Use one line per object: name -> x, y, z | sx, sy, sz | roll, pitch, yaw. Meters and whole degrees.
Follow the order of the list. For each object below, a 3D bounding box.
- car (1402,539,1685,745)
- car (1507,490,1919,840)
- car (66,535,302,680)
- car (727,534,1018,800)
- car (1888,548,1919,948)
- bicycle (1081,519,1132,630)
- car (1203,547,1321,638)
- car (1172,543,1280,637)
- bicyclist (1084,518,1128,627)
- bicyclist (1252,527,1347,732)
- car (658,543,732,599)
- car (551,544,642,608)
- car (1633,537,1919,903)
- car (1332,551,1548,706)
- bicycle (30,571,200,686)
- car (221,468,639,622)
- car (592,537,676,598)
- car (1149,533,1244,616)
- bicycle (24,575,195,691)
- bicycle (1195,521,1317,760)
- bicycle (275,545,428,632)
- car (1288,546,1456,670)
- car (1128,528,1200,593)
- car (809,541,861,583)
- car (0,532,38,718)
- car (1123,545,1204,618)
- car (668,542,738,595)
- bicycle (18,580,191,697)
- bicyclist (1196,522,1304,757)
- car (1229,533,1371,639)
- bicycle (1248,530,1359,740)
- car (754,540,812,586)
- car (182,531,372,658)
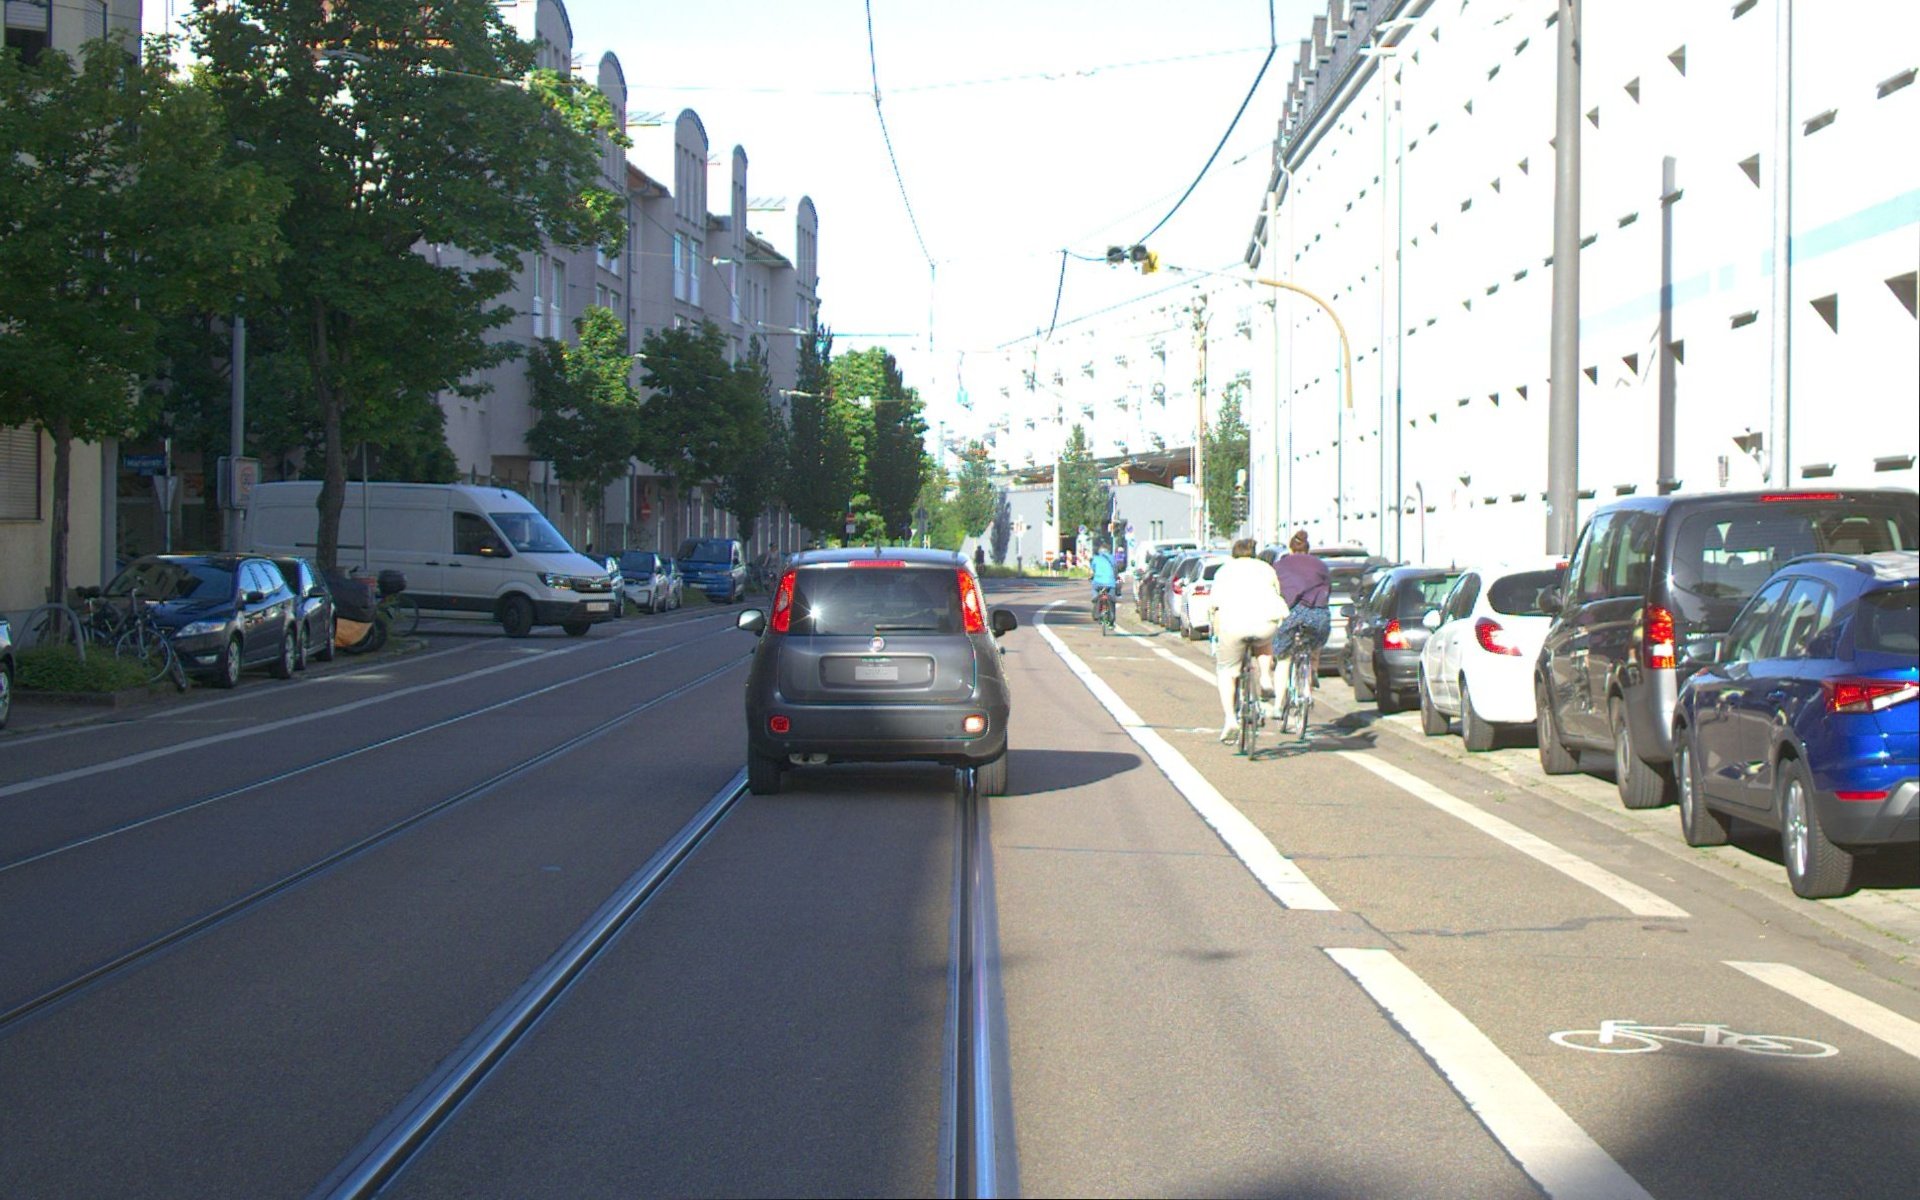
car -> 4.566, 0.287, 27.281 | 1.655, 1.495, 3.130 | 2, 1, 0
car -> 4.715, 0.328, 21.826 | 1.655, 1.937, 4.665 | 2, 1, 0
car -> -8.945, 0.047, 39.913 | 1.835, 1.551, 4.000 | 2, 1, -1
car -> -0.487, 0.357, 22.567 | 1.650, 1.536, 4.234 | 2, 1, 1
car -> 4.622, 0.629, 12.184 | 1.655, 1.566, 3.499 | 2, 1, 0
bicycle -> 2.717, -0.489, 64.198 | 0.741, 2.007, 2.812 | 2, 1, -1
car -> 4.964, -0.146, 56.830 | 1.583, 1.400, 3.377 | 2, 1, -1
car -> 4.714, -0.201, 61.292 | 1.583, 1.593, 3.377 | 2, 1, -1
bicyclist -> 2.725, -0.517, 64.199 | 0.715, 2.007, 0.832 | 2, 1, -1
bicyclist -> 2.955, 0.249, 29.990 | 0.699, 1.753, 0.757 | 2, 1, -1
car -> -7.522, -0.841, 97.917 | 1.707, 1.491, 3.722 | 2, 1, 1
car -> -8.837, -0.601, 83.822 | 1.707, 1.491, 3.722 | 2, 1, 1
car -> 4.523, 0.502, 16.769 | 1.655, 1.566, 3.876 | 2, 1, 0
car -> 4.692, 0.242, 33.981 | 1.583, 1.400, 3.377 | 2, 1, -1
bicycle -> -9.213, 0.310, 37.501 | 1.728, 1.192, 0.372 | 2, 1, -3
car -> -9.049, -0.955, 58.523 | 6.910, 2.395, 2.173 | 2, 1, 24
car -> -8.398, -0.859, 88.705 | 1.707, 1.491, 3.722 | 2, 1, 1
car -> 4.729, -0.531, 69.094 | 1.583, 1.593, 3.377 | 2, 1, -1
bicycle -> -9.172, 0.356, 37.087 | 1.728, 1.192, 0.372 | 2, 1, -3
bicycle -> 2.249, 0.281, 26.368 | 0.675, 1.741, 2.158 | 2, 1, -1
bicycle -> -9.556, -0.188, 54.067 | 2.275, 1.284, 0.758 | 2, 1, -4
car -> 5.070, 0.067, 42.607 | 1.583, 1.400, 3.377 | -3, 1, -1
car -> 5.277, -1.031, 89.102 | 1.583, 1.593, 3.377 | 2, 1, -1
car -> -4.730, -1.455, 130.334 | 1.707, 1.491, 3.722 | 2, 1, 1
car -> -9.280, 0.213, 29.099 | 1.808, 1.614, 4.064 | 2, 1, 0
car -> 4.696, -0.442, 79.561 | 1.583, 1.593, 3.377 | 2, 1, -1
car -> -7.655, -0.952, 102.631 | 1.707, 1.491, 3.722 | 2, 1, 1
bicycle -> -9.123, 0.408, 36.692 | 1.728, 1.192, 0.372 | 2, 1, -3
bicyclist -> 2.213, 0.290, 26.297 | 0.699, 1.753, 0.757 | 2, 1, -1
car -> 4.757, -0.219, 48.448 | 1.583, 1.400, 3.377 | 2, 1, -1
bicycle -> 2.971, 0.274, 29.916 | 0.675, 1.741, 2.158 | 2, 1, -1
car -> -6.085, -1.291, 118.475 | 1.707, 1.491, 3.722 | 2, 1, 1
car -> -8.945, -0.101, 45.261 | 1.835, 1.551, 3.377 | 2, 1, -1
